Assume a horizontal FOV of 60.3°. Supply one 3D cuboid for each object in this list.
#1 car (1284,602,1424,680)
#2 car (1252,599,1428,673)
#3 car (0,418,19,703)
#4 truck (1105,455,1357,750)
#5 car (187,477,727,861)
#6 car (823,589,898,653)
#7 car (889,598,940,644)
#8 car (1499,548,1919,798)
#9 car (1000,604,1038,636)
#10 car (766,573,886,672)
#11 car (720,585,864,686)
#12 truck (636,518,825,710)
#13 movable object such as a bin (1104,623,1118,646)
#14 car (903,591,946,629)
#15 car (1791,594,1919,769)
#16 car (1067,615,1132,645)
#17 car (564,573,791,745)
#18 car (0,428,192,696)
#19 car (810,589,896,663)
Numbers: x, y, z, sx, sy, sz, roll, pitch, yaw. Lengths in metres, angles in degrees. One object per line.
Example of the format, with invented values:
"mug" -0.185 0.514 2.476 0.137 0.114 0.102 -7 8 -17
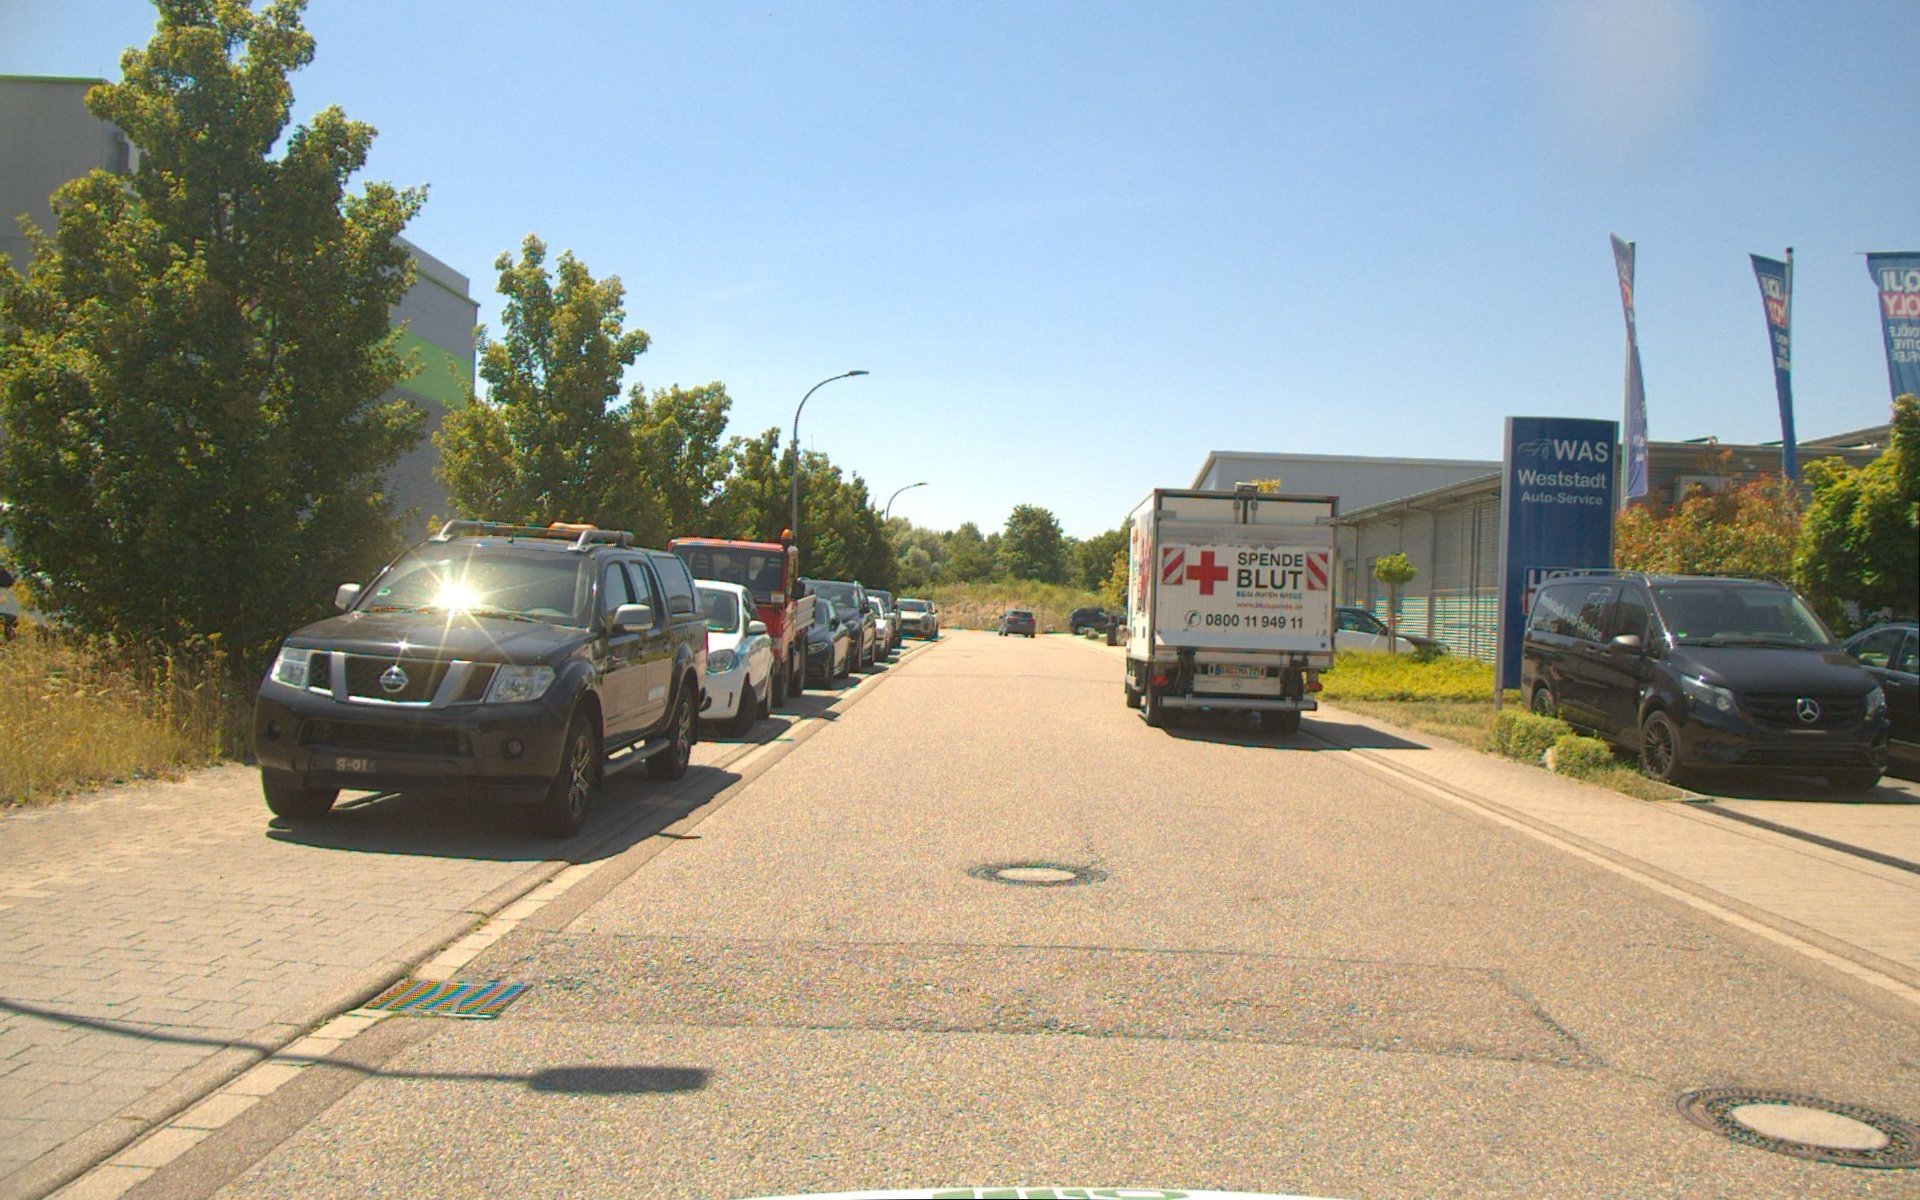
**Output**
"car" 8.336 0.853 35.147 2.650 1.568 1.413 1 0 2
"car" 8.588 0.805 37.618 3.615 1.568 1.913 1 0 2
"car" -12.623 -0.534 15.650 5.852 2.874 2.521 3 0 0
"truck" 3.402 0.029 22.376 2.406 3.261 6.884 3 0 2
"car" -3.069 0.375 11.537 1.933 1.934 5.402 3 0 1
"car" -2.688 0.547 45.590 1.814 1.545 5.165 3 0 -2
"car" -1.854 0.857 68.447 1.873 1.743 4.413 3 0 1
"car" 7.212 0.618 16.598 1.952 2.049 5.337 2 0 2
"car" 3.411 1.163 96.335 1.874 1.743 4.030 2 0 -2
"car" -2.661 0.435 33.992 1.813 1.789 4.988 3 0 2
"car" -2.767 0.557 28.202 1.813 1.468 4.754 3 0 1
"truck" -3.032 0.177 22.809 1.814 2.261 4.646 3 0 0
"movable object such as a bin" 6.482 1.467 70.871 0.547 0.963 0.539 1 -1 -1
"car" -1.687 0.462 79.907 1.873 1.684 4.755 2 0 1
"car" 9.786 0.793 15.309 1.952 1.563 4.592 2 1 1
"car" 8.905 1.919 105.847 3.928 1.684 1.858 -3 0 0
"car" -2.959 0.578 18.116 1.814 1.578 3.766 3 0 -1
"car" -12.848 -0.543 19.931 5.852 2.976 2.521 3 0 0
"car" -2.504 0.579 39.680 1.814 1.545 4.903 3 0 -2
